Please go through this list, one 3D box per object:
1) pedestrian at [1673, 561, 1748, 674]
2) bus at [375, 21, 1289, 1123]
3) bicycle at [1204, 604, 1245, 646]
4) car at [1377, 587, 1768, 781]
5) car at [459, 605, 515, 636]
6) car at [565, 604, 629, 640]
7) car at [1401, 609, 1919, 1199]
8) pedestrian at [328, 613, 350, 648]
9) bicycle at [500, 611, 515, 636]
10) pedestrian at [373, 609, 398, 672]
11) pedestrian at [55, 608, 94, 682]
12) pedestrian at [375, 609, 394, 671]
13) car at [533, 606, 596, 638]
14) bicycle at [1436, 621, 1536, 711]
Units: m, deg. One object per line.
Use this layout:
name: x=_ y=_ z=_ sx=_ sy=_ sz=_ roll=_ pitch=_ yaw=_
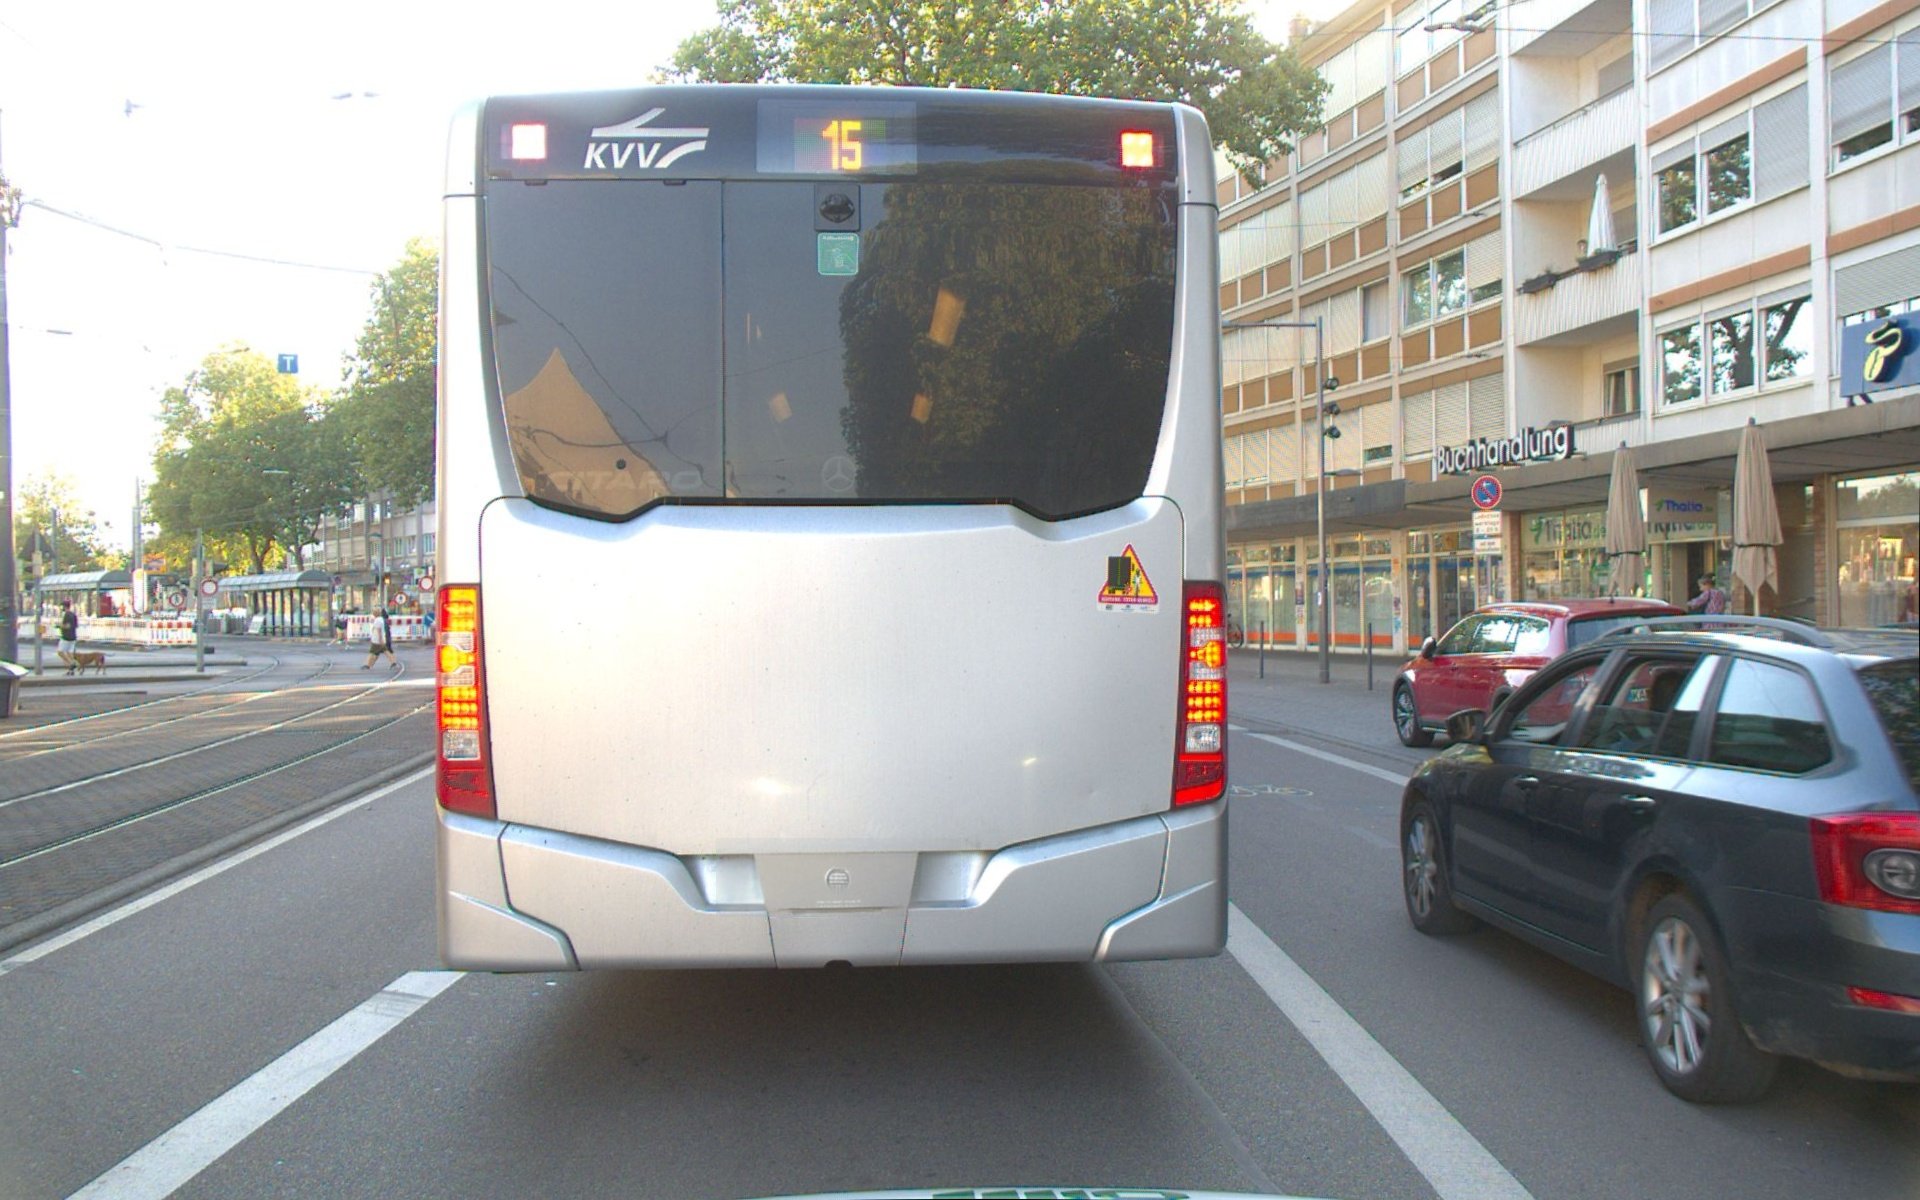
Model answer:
pedestrian: x=10.774 y=0.245 z=23.773 sx=0.627 sy=1.579 sz=0.806 roll=-1 pitch=0 yaw=-8
bus: x=-0.580 y=-0.071 z=9.906 sx=2.605 sy=3.153 sz=10.210 roll=-1 pitch=0 yaw=-3
bicycle: x=7.281 y=0.683 z=45.552 sx=0.431 sy=1.111 sz=1.453 roll=-3 pitch=1 yaw=-20
car: x=5.689 y=0.701 z=16.060 sx=1.744 sy=1.522 sz=4.563 roll=-3 pitch=0 yaw=-5
car: x=-25.099 y=1.085 z=87.644 sx=1.651 sy=1.494 sz=3.365 roll=-5 pitch=3 yaw=-38
car: x=-17.001 y=1.002 z=77.393 sx=1.650 sy=1.542 sz=3.367 roll=-5 pitch=3 yaw=-37
car: x=3.108 y=0.806 z=6.102 sx=1.767 sy=1.499 sz=4.070 roll=1 pitch=0 yaw=-2
pedestrian: x=-23.680 y=1.149 z=63.052 sx=0.766 sy=1.326 sz=0.590 roll=-1 pitch=0 yaw=-22
bicycle: x=-23.156 y=1.203 z=84.574 sx=0.500 sy=1.232 sz=2.079 roll=-1 pitch=0 yaw=-21
pedestrian: x=-14.170 y=0.995 z=40.791 sx=0.513 sy=1.530 sz=0.589 roll=-1 pitch=0 yaw=-23
pedestrian: x=-21.219 y=1.070 z=39.629 sx=0.422 sy=1.740 sz=0.675 roll=1 pitch=-1 yaw=31
pedestrian: x=-14.388 y=0.989 z=41.343 sx=0.403 sy=1.530 sz=0.513 roll=-1 pitch=0 yaw=-24
car: x=-19.325 y=1.063 z=80.674 sx=1.652 sy=1.419 sz=3.364 roll=-5 pitch=3 yaw=-39
bicycle: x=6.886 y=0.844 z=21.724 sx=0.502 sy=1.089 sz=1.657 roll=-3 pitch=0 yaw=-10
